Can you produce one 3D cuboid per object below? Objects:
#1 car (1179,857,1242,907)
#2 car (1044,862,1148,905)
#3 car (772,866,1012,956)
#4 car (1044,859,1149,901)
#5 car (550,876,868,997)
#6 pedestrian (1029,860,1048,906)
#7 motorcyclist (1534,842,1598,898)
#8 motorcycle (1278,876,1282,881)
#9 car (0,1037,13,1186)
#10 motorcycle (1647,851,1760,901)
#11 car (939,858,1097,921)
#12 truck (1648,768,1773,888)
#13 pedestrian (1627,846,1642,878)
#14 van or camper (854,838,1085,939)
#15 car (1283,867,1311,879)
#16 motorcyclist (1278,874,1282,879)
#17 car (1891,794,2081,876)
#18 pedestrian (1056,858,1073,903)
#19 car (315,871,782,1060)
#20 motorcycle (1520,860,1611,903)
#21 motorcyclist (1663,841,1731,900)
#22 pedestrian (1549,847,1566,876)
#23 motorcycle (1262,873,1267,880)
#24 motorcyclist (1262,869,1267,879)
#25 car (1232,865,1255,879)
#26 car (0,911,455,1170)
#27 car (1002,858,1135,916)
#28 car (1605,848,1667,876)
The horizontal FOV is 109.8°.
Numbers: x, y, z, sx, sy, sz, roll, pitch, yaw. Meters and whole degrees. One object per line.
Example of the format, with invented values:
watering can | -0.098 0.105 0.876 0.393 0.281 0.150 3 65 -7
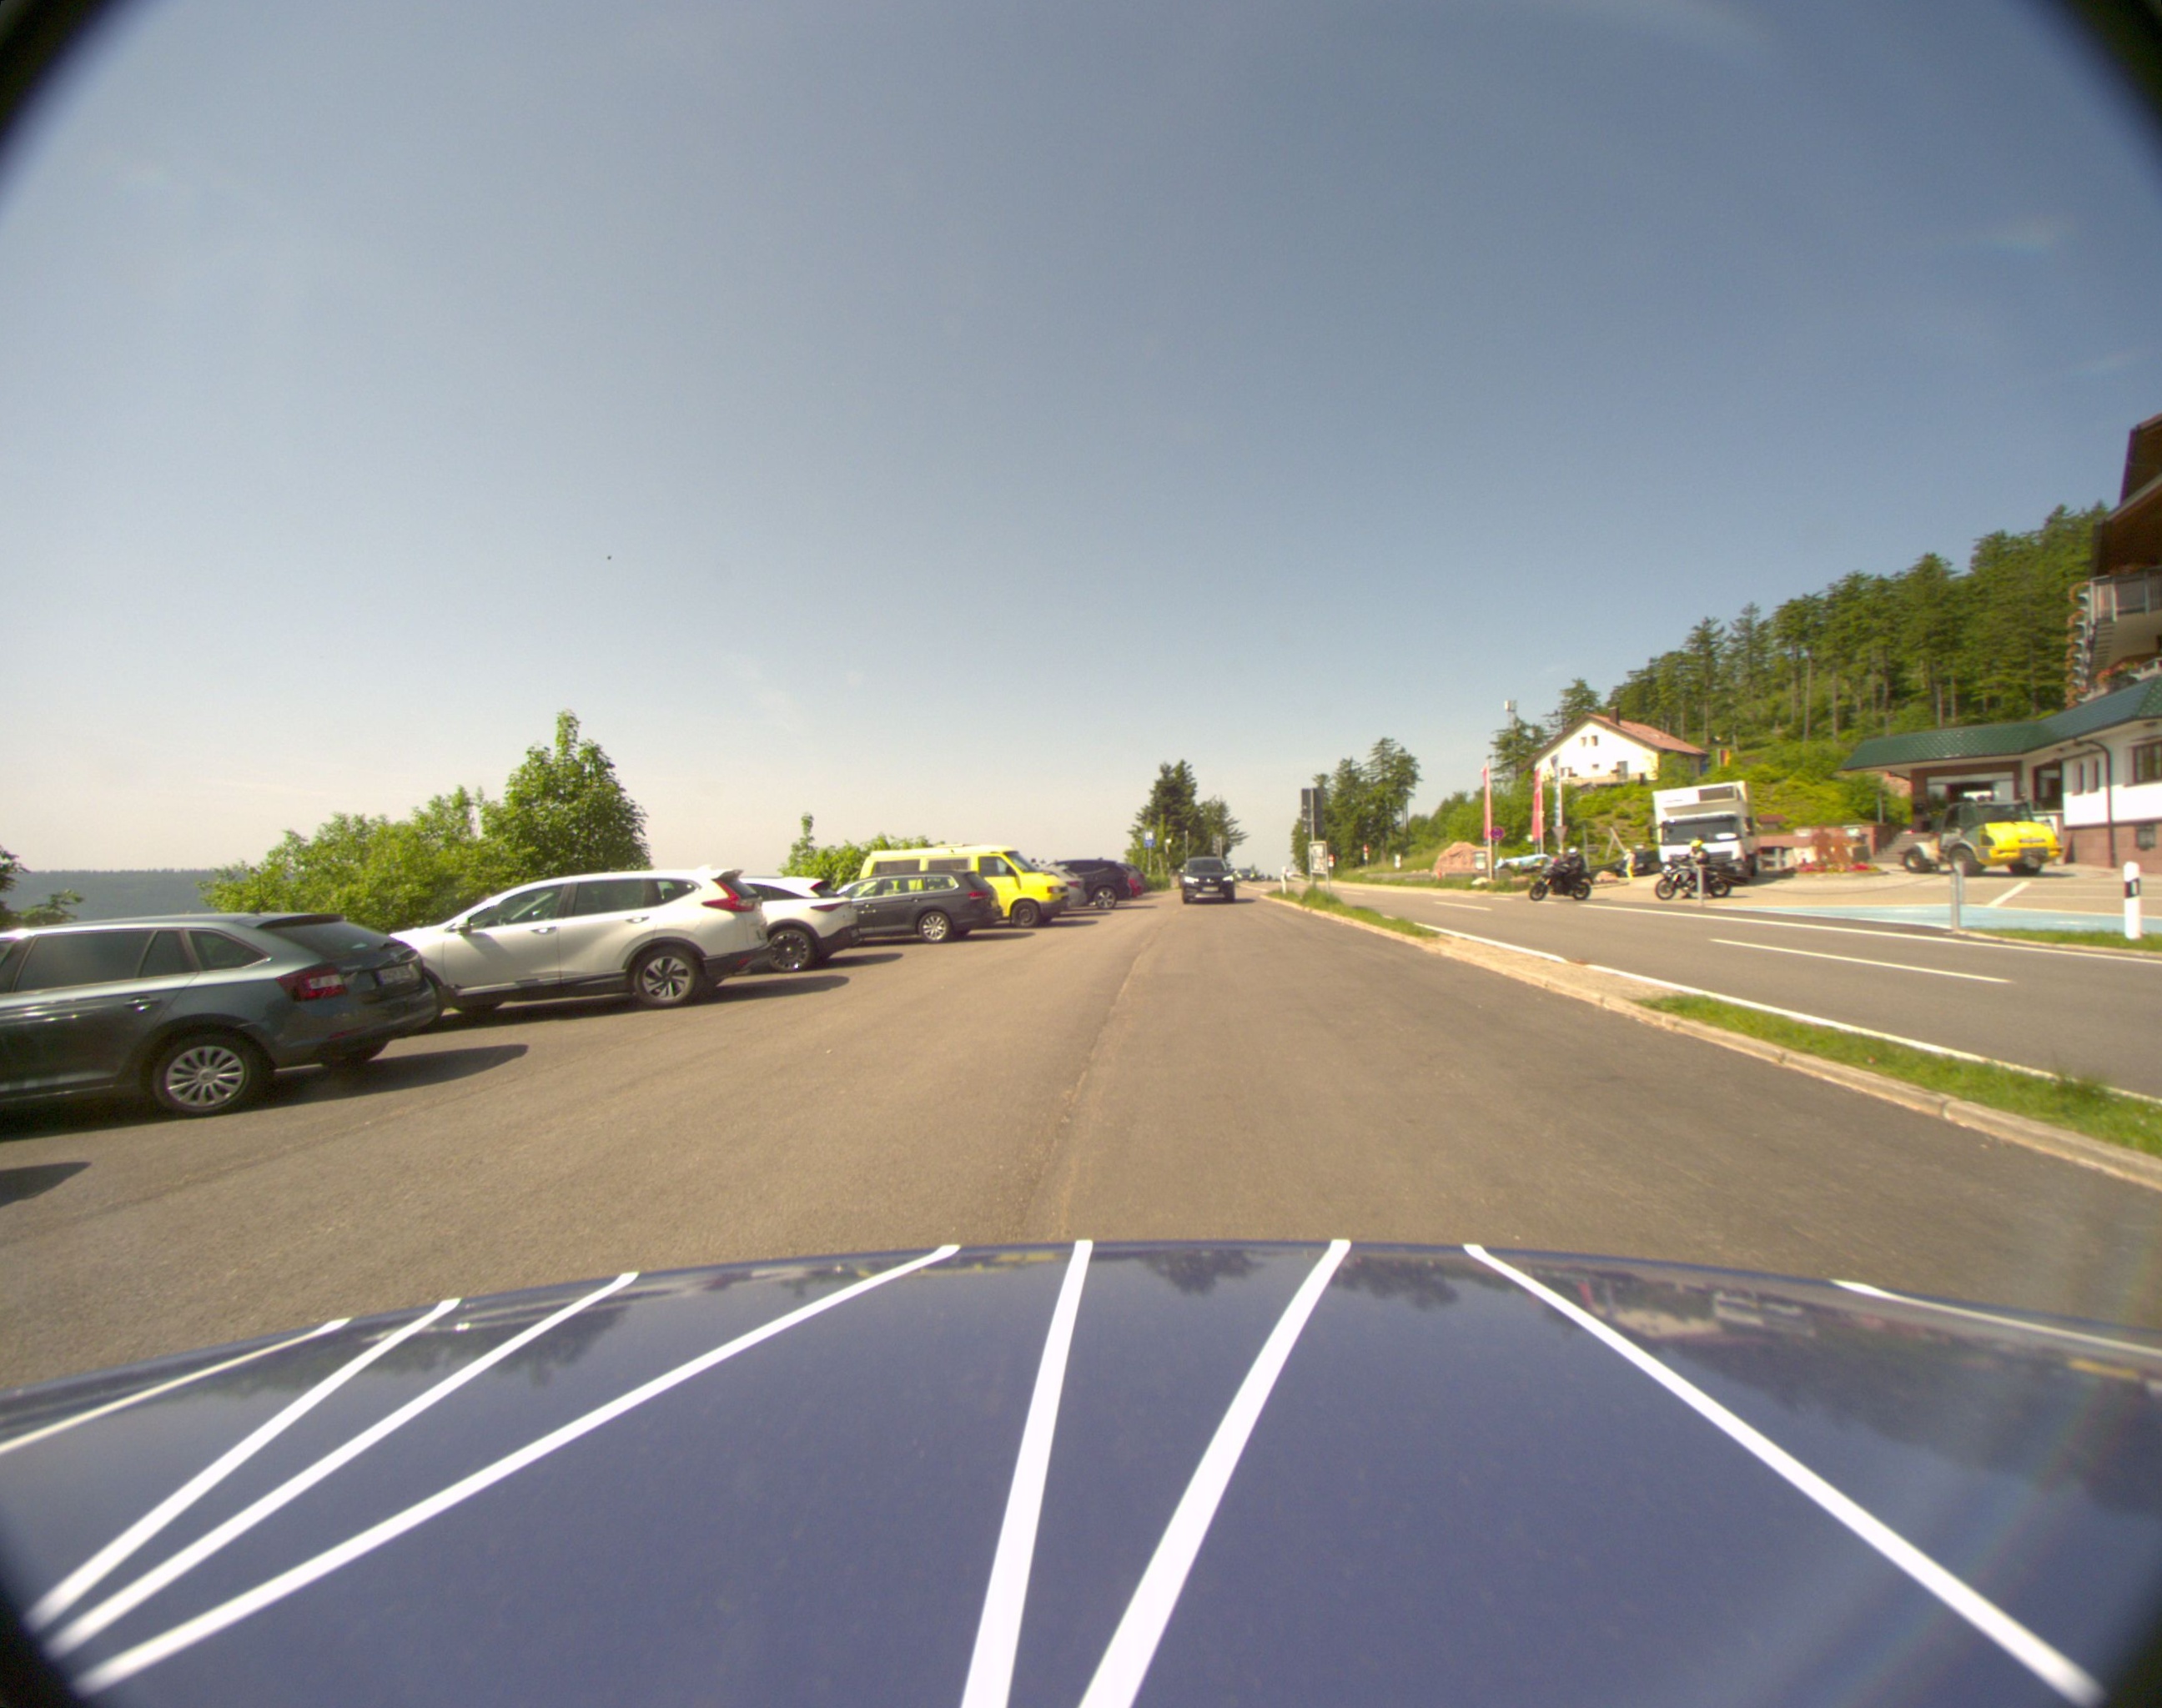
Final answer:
car | 4.473 0.921 26.780 1.984 1.607 4.152 -1 0 7
car | 0.542 1.178 30.605 3.998 1.500 1.842 -2 -1 -3
car | -3.795 1.144 15.644 4.359 1.478 1.814 -4 -1 8
car | 0.661 1.120 33.144 4.408 1.559 1.908 -3 -1 0
car | -5.742 1.238 12.226 4.098 1.491 1.943 -3 1 -6
pedestrian | -1.775 1.217 31.923 0.610 1.888 0.679 -4 0 5
motorcyclist | 15.451 0.504 24.244 1.450 1.708 0.926 -3 1 10
motorcycle | 50.224 6.215 191.604 0.840 1.089 2.186 -3 -1 21
car | -8.043 1.374 2.950 4.055 1.452 1.892 -4 0 -23
motorcycle | 18.814 0.669 23.032 2.440 1.398 1.007 -2 1 13
car | -1.744 0.995 21.688 4.158 1.579 1.706 -3 -1 9
truck | 24.874 -0.991 29.813 3.062 3.948 8.788 -4 -1 43
pedestrian | 29.189 0.403 40.092 0.574 1.679 0.654 0 0 42
van or camper | -2.650 0.839 18.474 5.099 2.001 1.884 -4 -1 10
car | 38.915 3.456 137.022 4.725 1.870 1.934 2 -1 9
motorcyclist | 50.254 5.668 191.671 0.840 1.432 1.007 -1 0 20
car | 29.669 -0.548 25.142 1.997 2.481 4.004 0 -1 12
pedestrian | -0.627 1.014 29.282 0.505 1.714 0.567 -4 0 -7
car | -6.096 1.194 9.331 4.186 1.640 1.890 -4 0 -14
motorcycle | 15.447 0.871 24.277 2.274 1.249 0.880 -3 1 10
motorcyclist | 18.651 0.498 23.040 1.246 1.710 1.065 -2 1 14
pedestrian | 27.865 0.441 44.396 0.697 1.706 0.800 0 0 42
motorcycle | 32.103 3.917 133.052 0.812 1.258 2.330 0 -1 11
motorcyclist | 32.094 3.496 133.009 0.880 1.632 1.301 0 0 11
car | 16.454 1.800 76.971 1.780 1.448 4.002 0 -1 6
car | -7.448 1.363 5.705 3.808 1.450 1.660 -4 0 -17
car | -0.376 1.013 24.157 3.997 1.604 1.917 -3 0 1
car | 34.642 0.472 47.385 4.005 1.347 1.875 -6 3 -34
